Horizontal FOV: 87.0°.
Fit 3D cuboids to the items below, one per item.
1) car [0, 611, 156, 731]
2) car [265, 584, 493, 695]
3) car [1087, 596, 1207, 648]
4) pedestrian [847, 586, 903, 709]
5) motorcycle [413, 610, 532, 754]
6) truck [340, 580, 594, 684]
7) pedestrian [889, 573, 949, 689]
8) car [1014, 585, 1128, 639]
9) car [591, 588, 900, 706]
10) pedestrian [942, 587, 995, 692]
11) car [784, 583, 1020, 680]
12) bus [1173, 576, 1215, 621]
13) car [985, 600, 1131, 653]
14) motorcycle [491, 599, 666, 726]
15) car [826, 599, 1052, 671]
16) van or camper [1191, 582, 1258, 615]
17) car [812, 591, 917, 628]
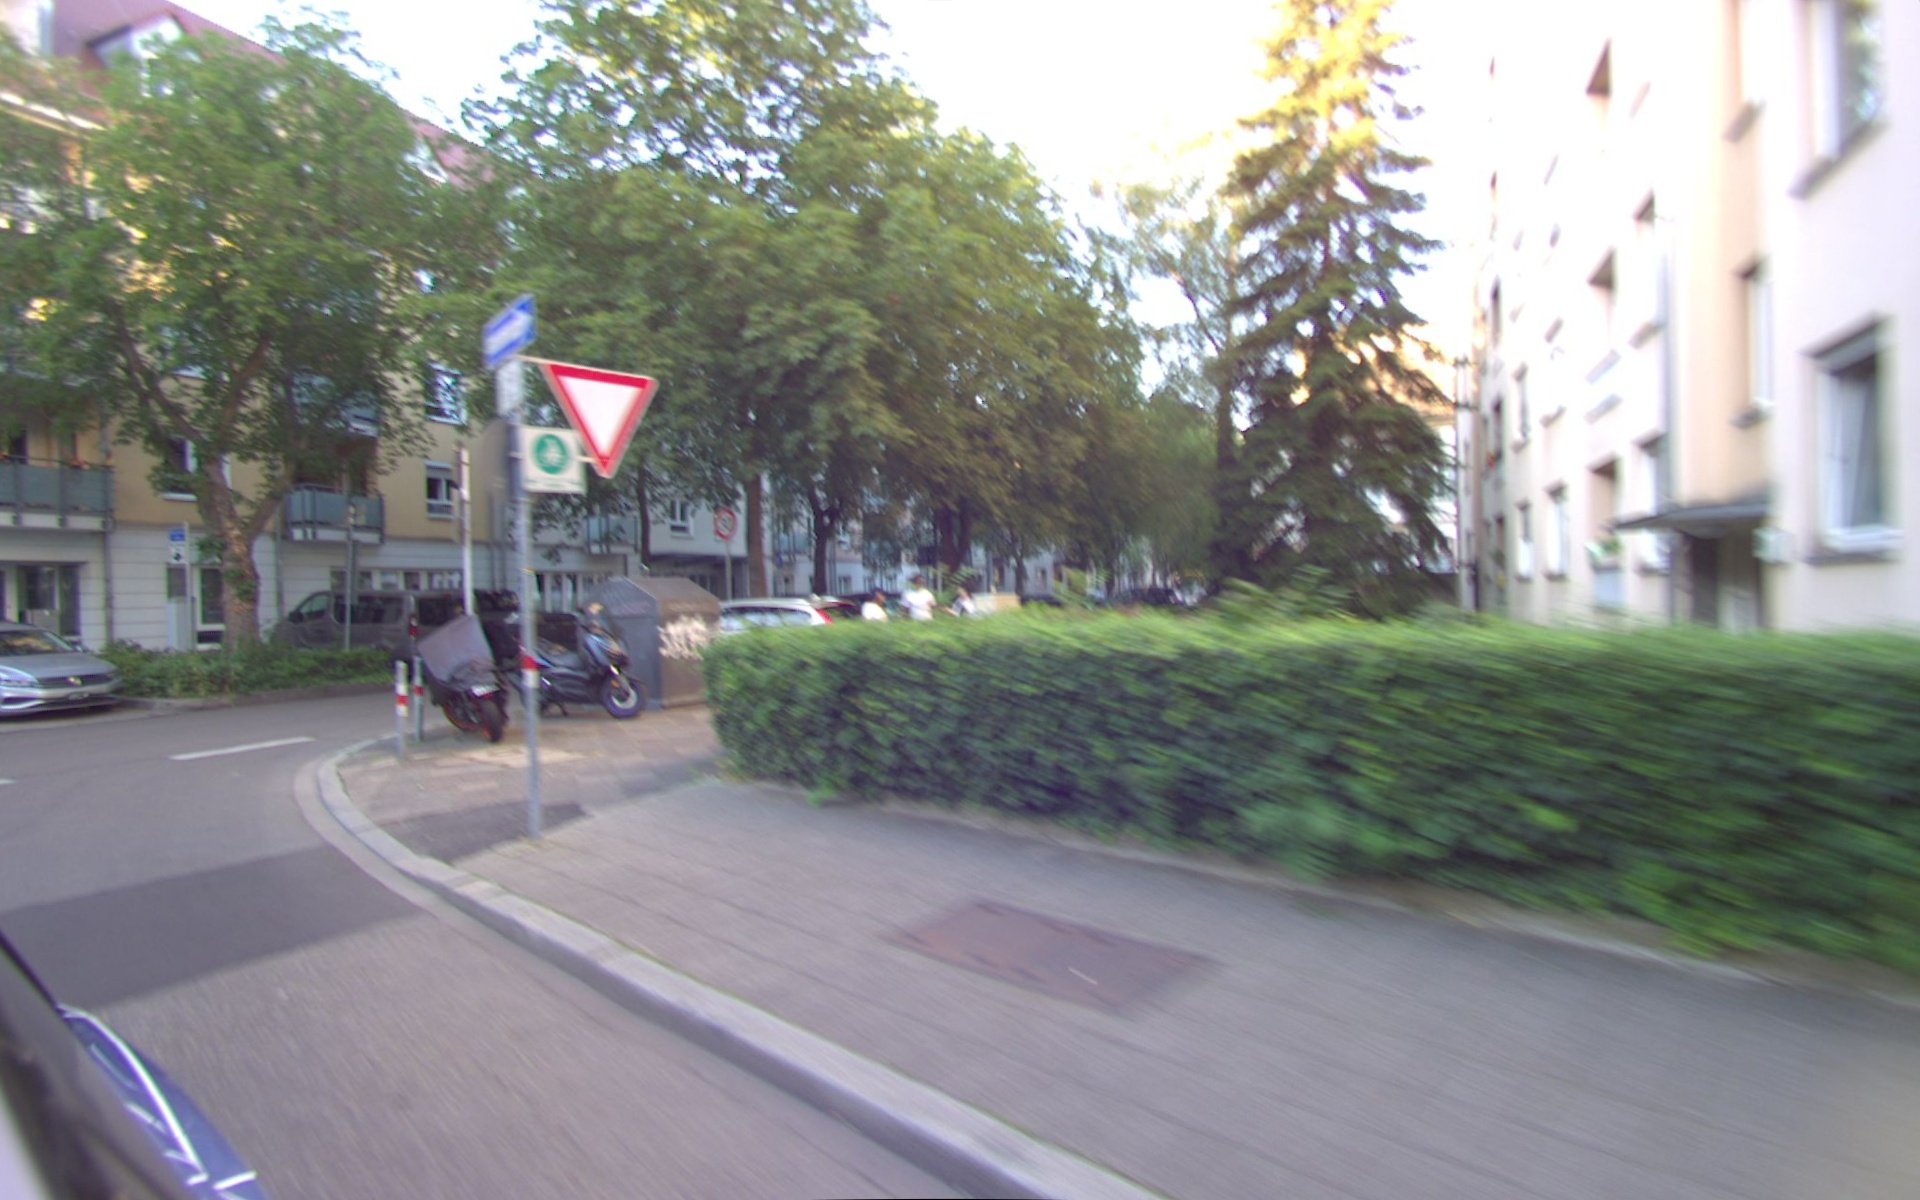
[{"bbox_3d":[-15.597,1.113,16.395,4.776,1.717,1.824,-2,-1,21],"label":"car"},{"bbox_3d":[-12.947,0.791,22.563,4.604,2.149,2.021,2,1,23],"label":"car"},{"bbox_3d":[7.499,0.873,40.565,4.402,1.906,1.986,-2,-1,22],"label":"car"},{"bbox_3d":[-1.290,0.699,15.280,0.687,1.801,0.531,-1,-1,-18],"label":"pedestrian"},{"bbox_3d":[-5.322,0.822,10.969,0.711,1.384,2.229,-1,-1,-37],"label":"motorcycle"},{"bbox_3d":[-12.208,0.694,25.028,5.984,2.149,2.244,3,1,23],"label":"truck"},{"bbox_3d":[-0.659,0.491,16.226,0.695,1.801,0.660,-2,-1,26],"label":"pedestrian"},{"bbox_3d":[3.648,0.398,33.271,3.390,1.621,1.749,-2,-1,20],"label":"car"},{"bbox_3d":[-3.459,0.757,16.345,4.484,1.593,2.039,-4,-1,23],"label":"car"},{"bbox_3d":[0.128,0.595,15.528,0.658,1.584,0.444,-2,0,27],"label":"pedestrian"},{"bbox_3d":[-1.183,0.661,20.914,4.378,1.697,2.050,-4,-1,20],"label":"car"},{"bbox_3d":[22.712,-0.156,97.855,2.816,4.141,7.774,-1,0,22],"label":"bus"},{"bbox_3d":[2.998,0.799,30.769,4.082,1.390,1.735,-3,-1,20],"label":"car"},{"bbox_3d":[-4.831,0.774,12.788,2.211,1.505,0.686,-2,-1,24],"label":"motorcycle"},{"bbox_3d":[-0.469,0.800,23.008,4.696,1.435,2.058,-2,-1,20],"label":"car"},{"bbox_3d":[20.683,-0.128,79.163,4.801,2.446,1.930,-1,-1,23],"label":"van or camper"},{"bbox_3d":[-4.399,0.396,46.739,4.555,1.563,1.760,1,1,22],"label":"car"}]
